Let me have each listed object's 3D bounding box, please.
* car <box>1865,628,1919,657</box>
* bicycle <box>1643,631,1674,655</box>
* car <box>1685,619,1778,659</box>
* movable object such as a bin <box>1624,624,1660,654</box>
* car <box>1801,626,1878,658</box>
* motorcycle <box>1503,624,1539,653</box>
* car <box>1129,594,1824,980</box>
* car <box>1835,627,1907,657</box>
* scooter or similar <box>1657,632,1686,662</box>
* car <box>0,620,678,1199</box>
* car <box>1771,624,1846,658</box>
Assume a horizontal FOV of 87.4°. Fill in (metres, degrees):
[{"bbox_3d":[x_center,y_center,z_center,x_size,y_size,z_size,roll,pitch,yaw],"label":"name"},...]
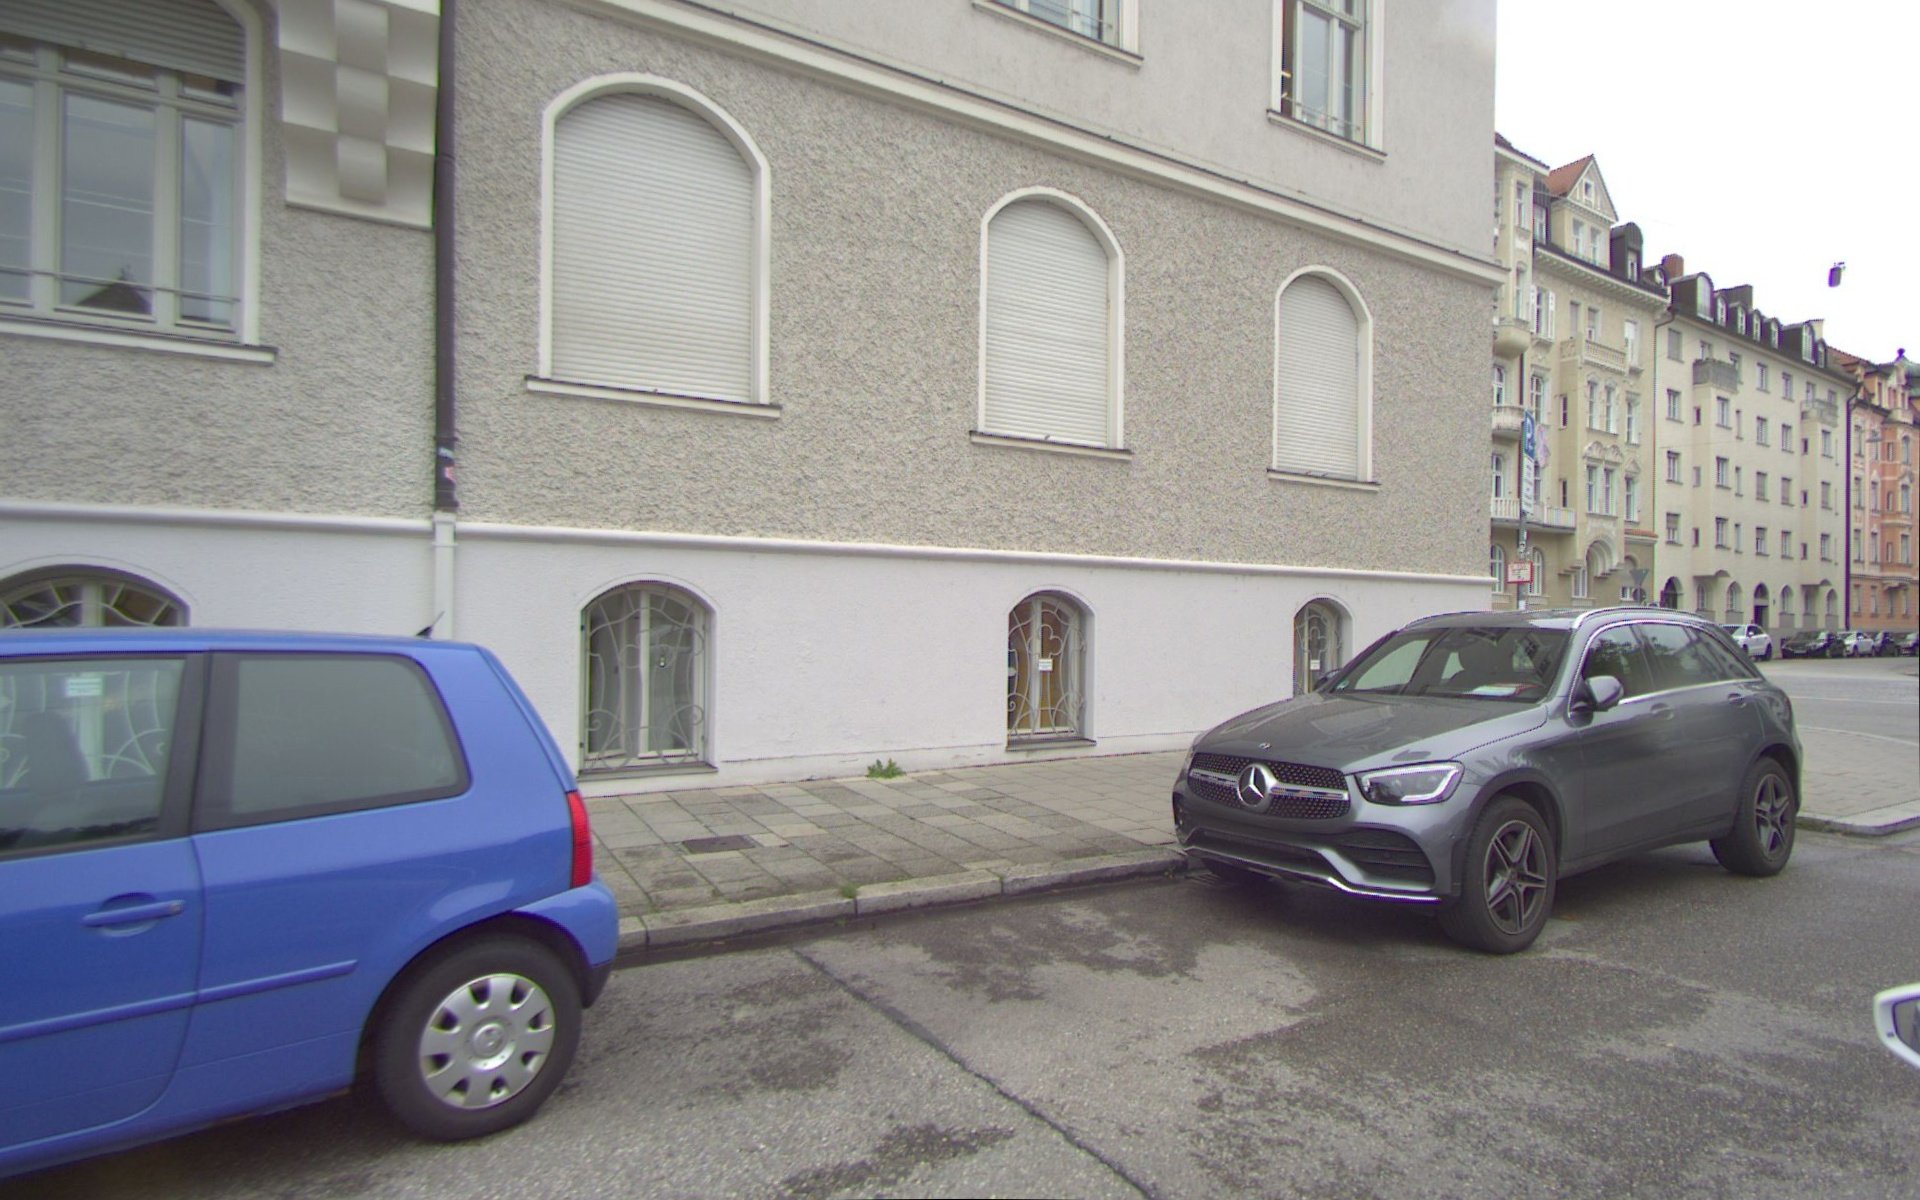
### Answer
[{"bbox_3d":[56.098,2.538,59.932,4.359,1.602,1.965,1,0,-32],"label":"car"},{"bbox_3d":[32.084,1.961,46.117,1.812,1.063,0.559,1,-1,-35],"label":"bicycle"},{"bbox_3d":[35.129,1.748,45.697,4.791,1.723,1.963,1,0,-35],"label":"car"},{"bbox_3d":[33.405,1.909,49.193,1.160,1.444,1.085,1,-1,-32],"label":"movable object such as a bin"},{"bbox_3d":[47.675,2.250,54.438,4.359,1.602,1.964,1,0,-32],"label":"car"},{"bbox_3d":[24.318,1.659,43.532,1.812,1.192,0.594,1,-1,-35],"label":"motorcycle"},{"bbox_3d":[3.303,0.860,6.159,4.445,1.623,1.738,1,-2,-31],"label":"car"},{"bbox_3d":[51.942,2.397,57.252,4.359,1.602,1.964,1,0,-32],"label":"car"},{"bbox_3d":[30.598,2.014,43.208,0.458,1.209,1.216,1,0,6],"label":"scooter or similar"},{"bbox_3d":[-2.824,0.775,2.695,3.630,1.433,1.679,2,-2,-38],"label":"car"},{"bbox_3d":[43.693,2.095,51.697,4.669,1.637,1.961,1,0,-37],"label":"car"}]
